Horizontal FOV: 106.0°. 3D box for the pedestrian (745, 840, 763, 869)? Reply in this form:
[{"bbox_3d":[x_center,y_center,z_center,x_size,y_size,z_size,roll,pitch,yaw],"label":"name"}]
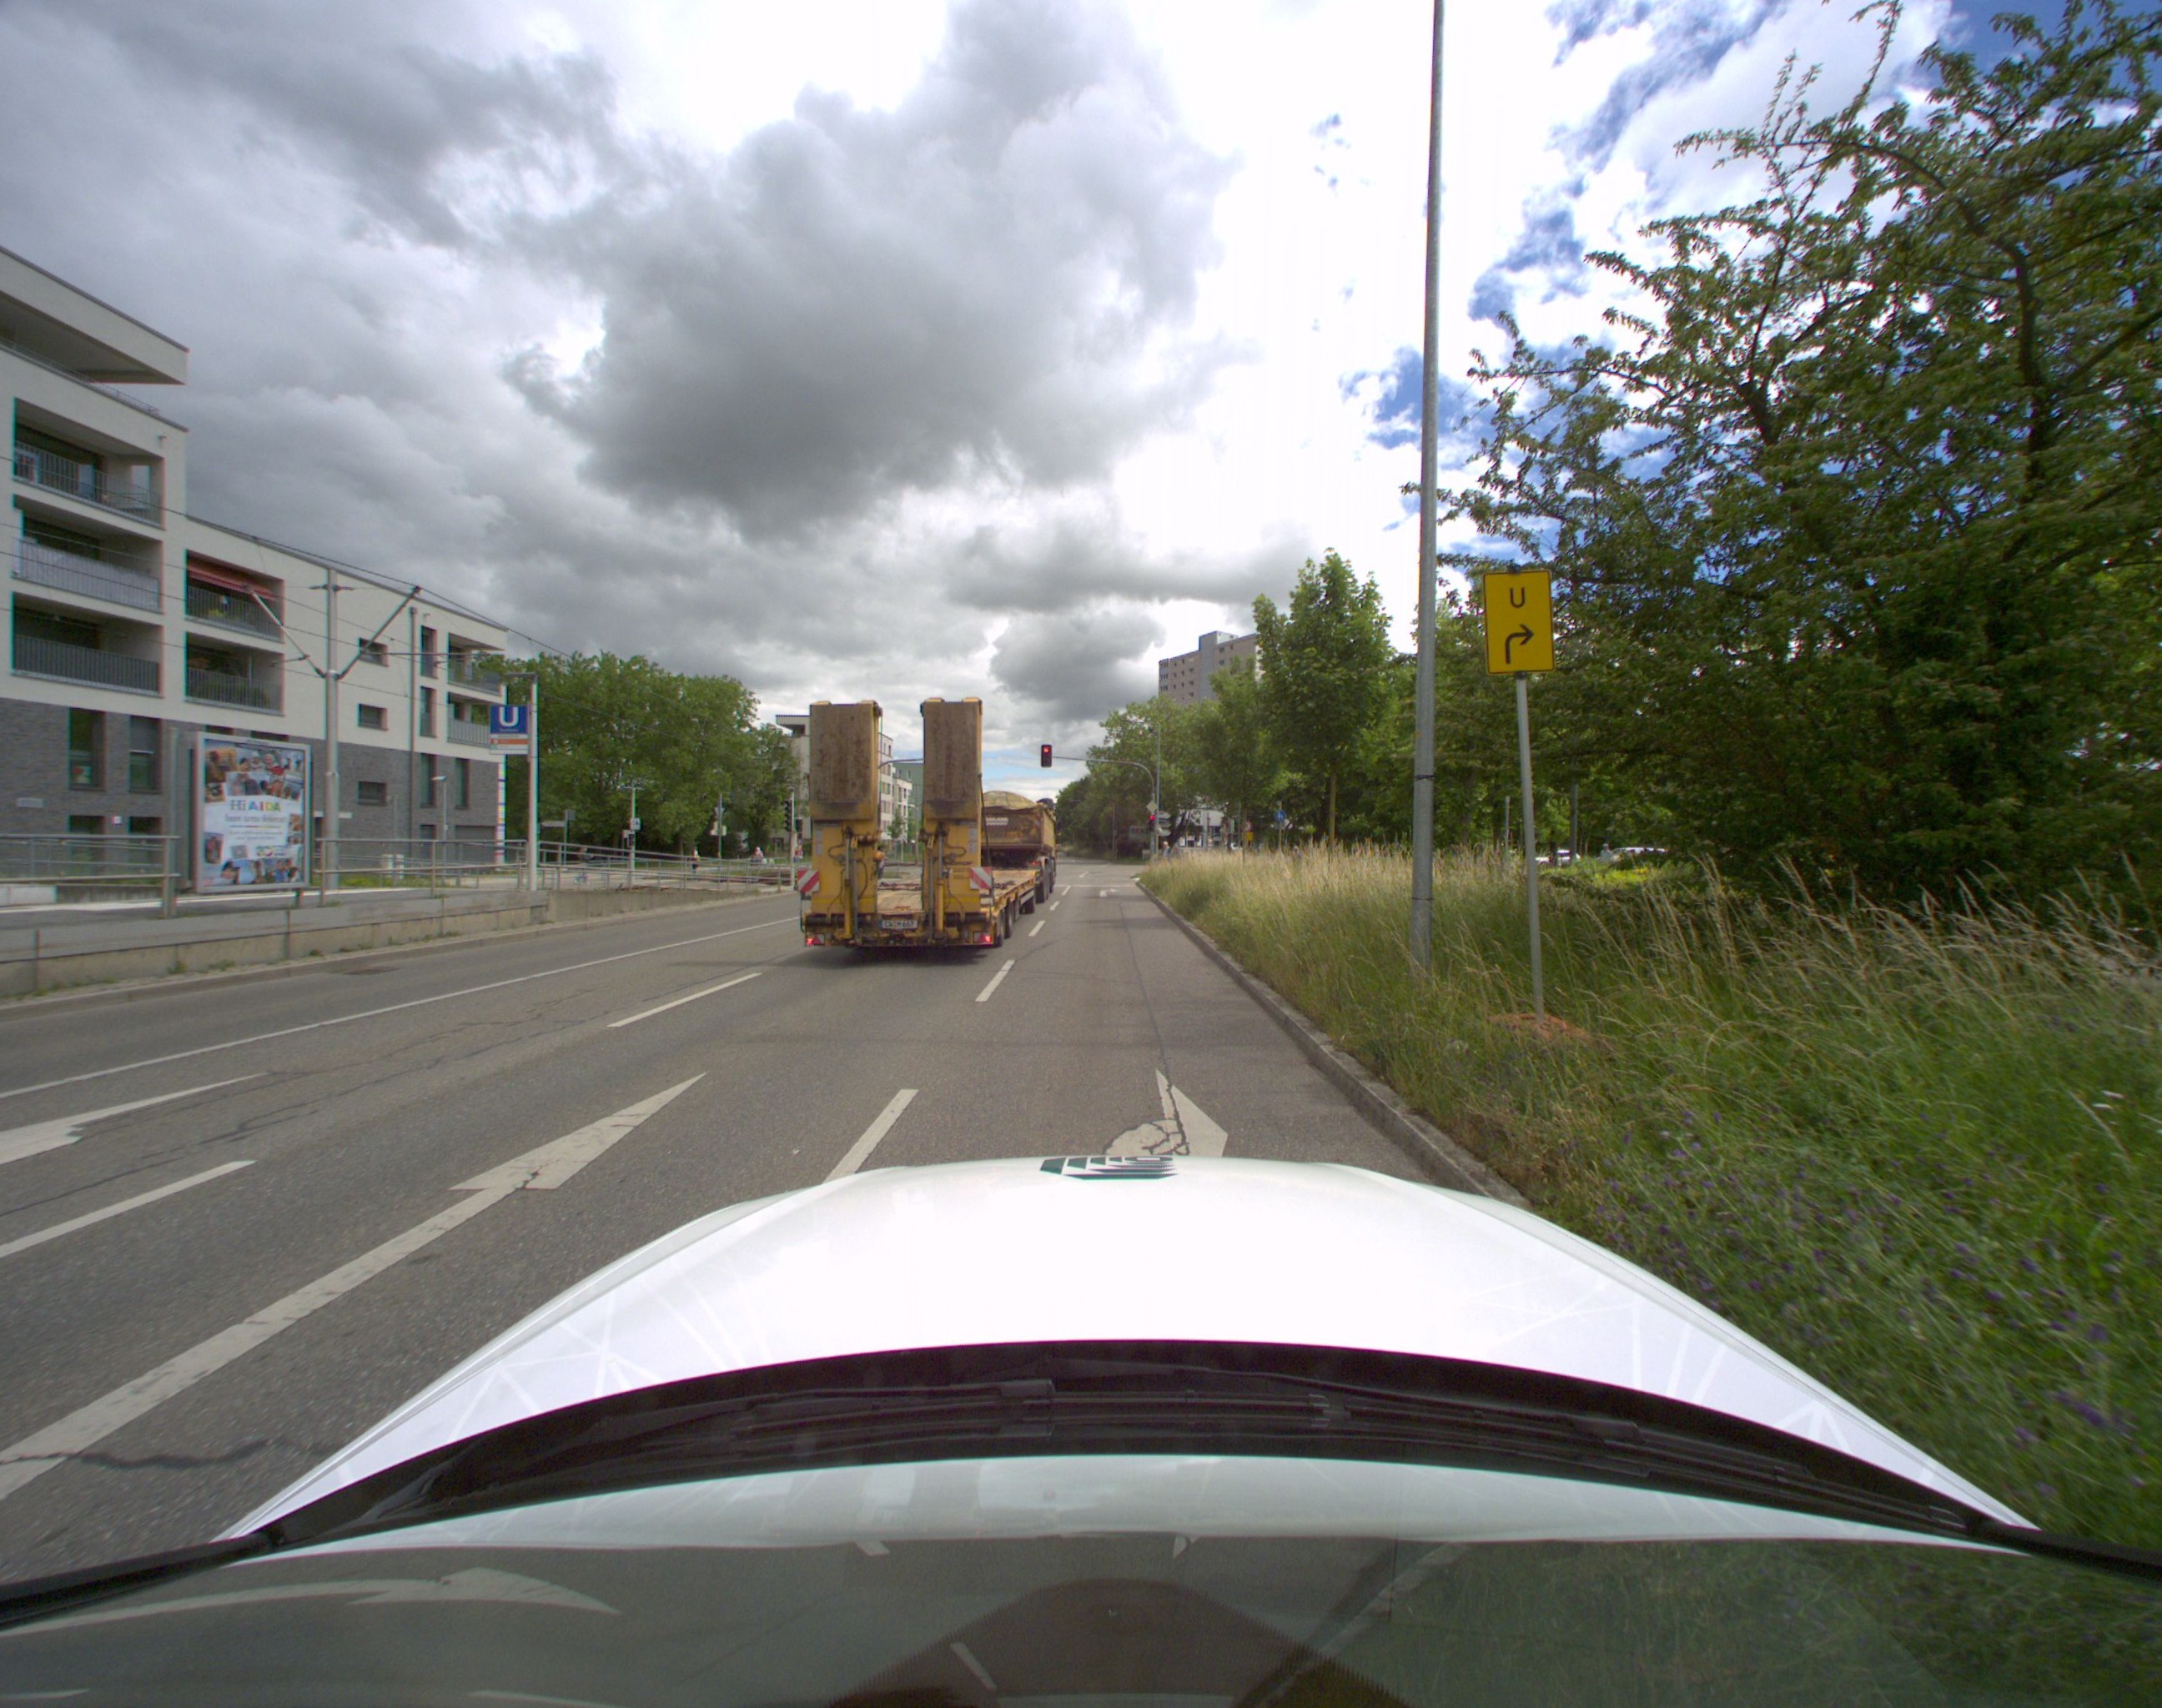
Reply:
[{"bbox_3d":[-24.468,0.053,60.926,0.912,2.133,0.935,1,0,1],"label":"pedestrian"}]

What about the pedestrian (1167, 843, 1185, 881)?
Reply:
[{"bbox_3d":[4.182,0.345,35.748,0.621,1.653,0.566,1,0,27],"label":"pedestrian"}]

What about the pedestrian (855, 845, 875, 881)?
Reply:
[{"bbox_3d":[-9.773,0.406,36.876,0.679,1.602,0.823,1,0,0],"label":"pedestrian"}]

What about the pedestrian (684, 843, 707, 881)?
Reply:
[{"bbox_3d":[-22.536,0.444,47.637,0.912,2.204,0.882,1,0,1],"label":"pedestrian"}]

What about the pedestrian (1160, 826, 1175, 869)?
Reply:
[{"bbox_3d":[4.022,-0.298,37.835,0.561,2.013,0.490,1,0,-8],"label":"pedestrian"}]

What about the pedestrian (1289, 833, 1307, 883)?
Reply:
[{"bbox_3d":[8.864,0.157,33.298,0.561,2.013,0.490,1,0,-8],"label":"pedestrian"}]

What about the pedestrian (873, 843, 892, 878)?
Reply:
[{"bbox_3d":[-9.646,0.315,39.585,0.679,1.669,0.823,1,0,0],"label":"pedestrian"}]

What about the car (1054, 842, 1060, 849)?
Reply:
[{"bbox_3d":[-6.741,-2.270,227.150,1.686,1.925,3.996,1,1,-3],"label":"car"}]

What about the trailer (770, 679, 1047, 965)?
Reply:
[{"bbox_3d":[-2.410,-0.476,15.858,2.719,3.558,11.257,1,1,1],"label":"trailer"}]

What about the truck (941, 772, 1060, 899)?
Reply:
[{"bbox_3d":[-2.236,-0.532,25.686,2.744,3.313,8.354,1,1,1],"label":"truck"}]

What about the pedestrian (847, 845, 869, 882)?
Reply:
[{"bbox_3d":[-9.818,0.395,35.876,0.679,1.602,0.823,1,0,0],"label":"pedestrian"}]

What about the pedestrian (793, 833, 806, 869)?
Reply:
[{"bbox_3d":[-22.289,-0.247,64.466,0.685,2.774,0.742,1,0,1],"label":"pedestrian"}]

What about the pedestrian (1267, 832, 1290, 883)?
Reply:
[{"bbox_3d":[7.924,0.152,32.689,0.671,2.013,0.633,1,0,-8],"label":"pedestrian"}]

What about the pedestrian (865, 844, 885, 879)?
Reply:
[{"bbox_3d":[-9.729,0.339,38.490,0.679,1.602,0.823,1,0,0],"label":"pedestrian"}]

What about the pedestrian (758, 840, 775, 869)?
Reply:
[{"bbox_3d":[-23.510,0.008,60.870,0.912,2.133,0.935,1,0,1],"label":"pedestrian"}]

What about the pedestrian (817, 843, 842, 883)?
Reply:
[{"bbox_3d":[-10.717,0.390,34.773,0.817,1.668,0.684,1,0,2],"label":"pedestrian"}]
